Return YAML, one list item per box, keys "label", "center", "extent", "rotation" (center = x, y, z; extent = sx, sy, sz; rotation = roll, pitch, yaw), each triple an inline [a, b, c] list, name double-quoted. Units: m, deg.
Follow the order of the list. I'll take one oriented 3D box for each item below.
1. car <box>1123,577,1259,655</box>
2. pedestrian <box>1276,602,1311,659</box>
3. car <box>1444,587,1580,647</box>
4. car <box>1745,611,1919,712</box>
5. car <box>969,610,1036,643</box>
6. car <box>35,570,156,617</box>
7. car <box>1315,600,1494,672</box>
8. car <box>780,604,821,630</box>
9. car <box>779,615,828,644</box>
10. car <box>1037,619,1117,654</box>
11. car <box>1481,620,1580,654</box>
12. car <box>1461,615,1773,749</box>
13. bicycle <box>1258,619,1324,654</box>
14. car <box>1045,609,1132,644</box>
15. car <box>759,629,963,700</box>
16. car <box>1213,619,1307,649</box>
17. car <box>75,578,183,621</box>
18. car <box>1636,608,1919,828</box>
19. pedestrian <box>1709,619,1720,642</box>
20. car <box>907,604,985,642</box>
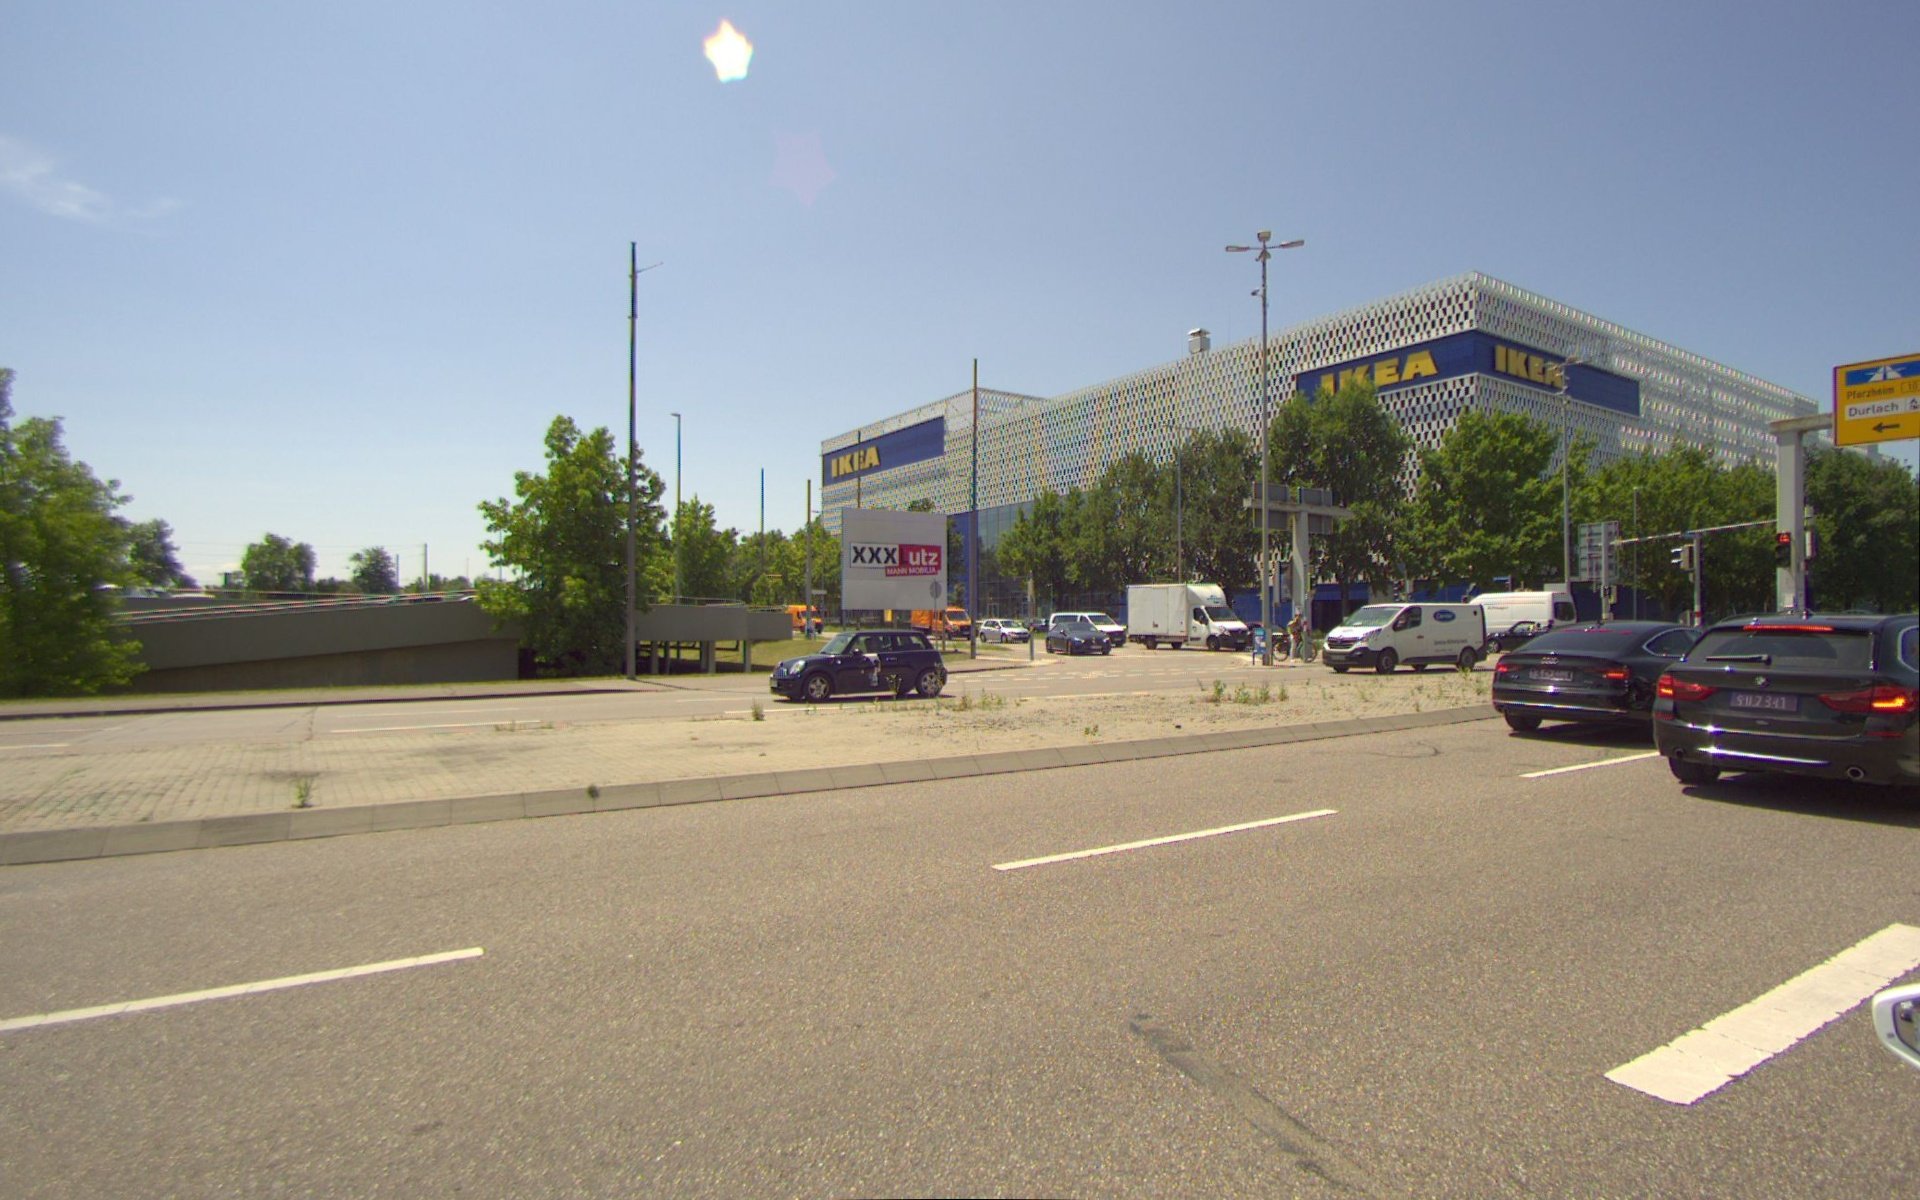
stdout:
- label: "car"
  center: [11.124, 0.768, 49.019]
  extent: [2.159, 3.533, 6.863]
  rotation: [-1, 0, -33]
- label: "pedestrian"
  center: [12.111, 1.091, 36.494]
  extent: [0.858, 2.040, 0.897]
  rotation: [0, -1, -40]
- label: "car"
  center: [25.589, 0.754, 46.815]
  extent: [1.973, 2.601, 5.473]
  rotation: [1, 0, -25]
- label: "car"
  center: [15.070, 0.962, 17.239]
  extent: [3.968, 1.514, 1.782]
  rotation: [1, 0, -41]
- label: "car"
  center: [2.644, 1.664, 63.755]
  extent: [1.978, 2.040, 4.673]
  rotation: [1, -1, -32]
- label: "car"
  center: [-39.840, -0.253, 46.401]
  extent: [3.958, 2.040, 1.982]
  rotation: [1, -2, -34]
- label: "car"
  center: [12.635, 1.002, 28.569]
  extent: [4.769, 1.875, 1.828]
  rotation: [-1, -2, -22]
- label: "car"
  center: [-14.992, 1.603, 94.199]
  extent: [1.976, 2.318, 5.838]
  rotation: [1, -1, -29]
- label: "car"
  center: [-11.329, 2.085, 72.560]
  extent: [1.818, 2.040, 3.956]
  rotation: [1, -1, -39]
- label: "car"
  center: [5.303, 1.641, 45.965]
  extent: [1.906, 1.528, 3.976]
  rotation: [1, -1, -25]
- label: "car"
  center: [24.131, 1.544, 42.577]
  extent: [1.605, 1.375, 3.351]
  rotation: [1, -1, -30]
- label: "car"
  center: [8.571, 0.932, 12.988]
  extent: [4.484, 1.409, 1.738]
  rotation: [0, 0, -33]
- label: "bicycle"
  center: [12.032, 1.326, 36.573]
  extent: [0.989, 1.229, 2.075]
  rotation: [0, -1, -40]
- label: "car"
  center: [7.121, 1.457, 56.138]
  extent: [1.976, 1.835, 5.428]
  rotation: [1, -1, -30]
- label: "car"
  center: [-2.047, 1.284, 20.959]
  extent: [3.846, 1.320, 1.848]
  rotation: [0, -2, -29]
- label: "car"
  center: [14.500, 1.631, 48.722]
  extent: [1.757, 1.360, 4.258]
  rotation: [0, -1, -33]
- label: "car"
  center: [-41.940, 0.022, 50.830]
  extent: [3.958, 2.040, 1.982]
  rotation: [1, -2, -34]
- label: "car"
  center: [7.956, 0.823, 8.829]
  extent: [4.575, 1.485, 1.789]
  rotation: [0, 0, -34]
- label: "pedestrian"
  center: [50.869, 2.056, 67.740]
  extent: [0.478, 1.502, 0.460]
  rotation: [1, -1, -31]
- label: "car"
  center: [-1.068, 1.623, 70.536]
  extent: [2.546, 2.568, 6.576]
  rotation: [1, -1, -31]
